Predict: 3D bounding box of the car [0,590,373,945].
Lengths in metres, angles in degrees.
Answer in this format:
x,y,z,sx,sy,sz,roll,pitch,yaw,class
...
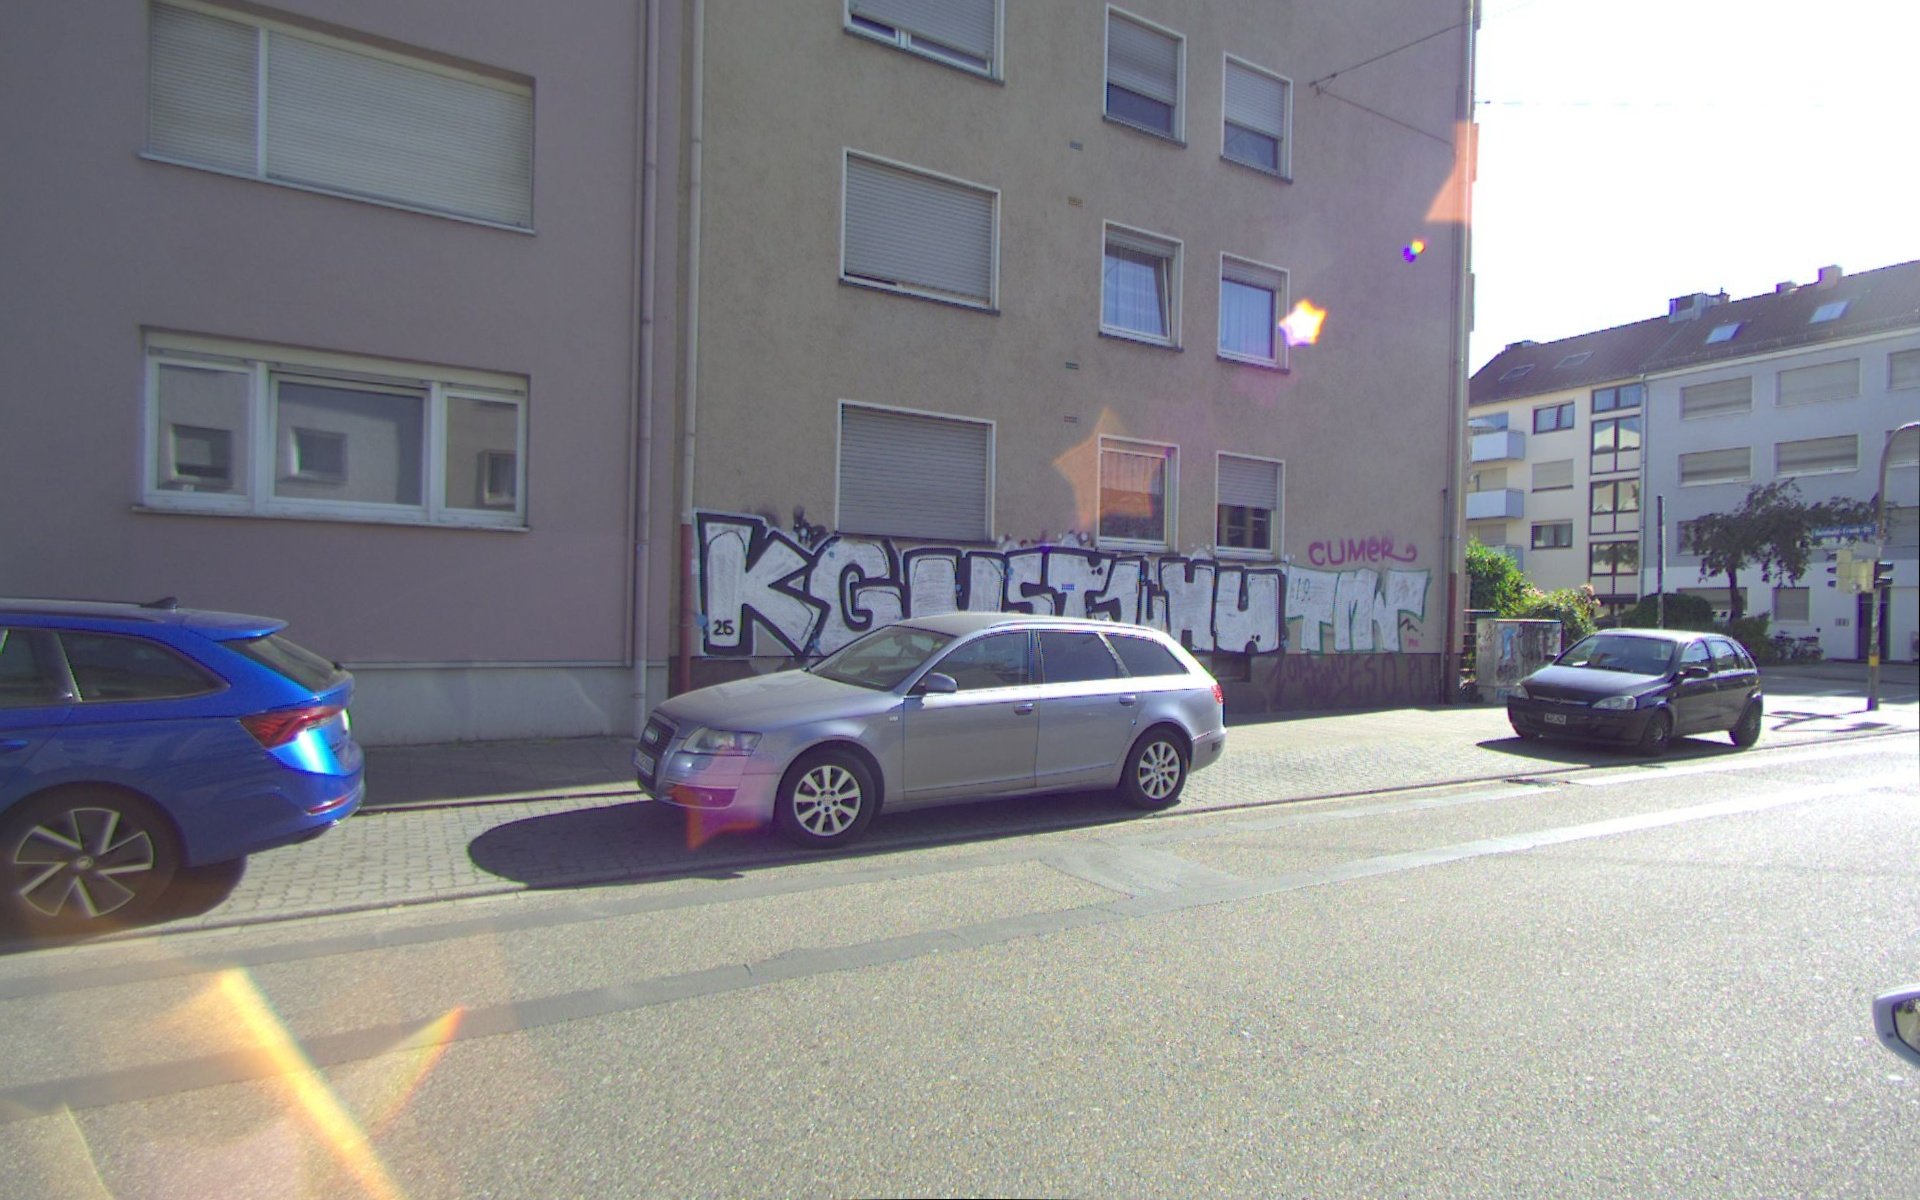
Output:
x,y,z,sx,sy,sz,roll,pitch,yaw,class
-5.367,0.708,4.613,4.558,1.485,1.709,1,2,-30,car

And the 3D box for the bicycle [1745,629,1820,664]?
x,y,z,sx,sy,sz,roll,pitch,yaw,class
29.720,1.652,36.330,2.068,1.188,0.738,0,-1,37,bicycle

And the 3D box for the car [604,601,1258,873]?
x,y,z,sx,sy,sz,roll,pitch,yaw,class
-0.073,0.832,7.686,4.759,1.485,1.708,1,2,-31,car

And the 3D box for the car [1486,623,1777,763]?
x,y,z,sx,sy,sz,roll,pitch,yaw,class
8.585,1.084,12.787,3.667,1.444,1.608,1,2,-31,car
